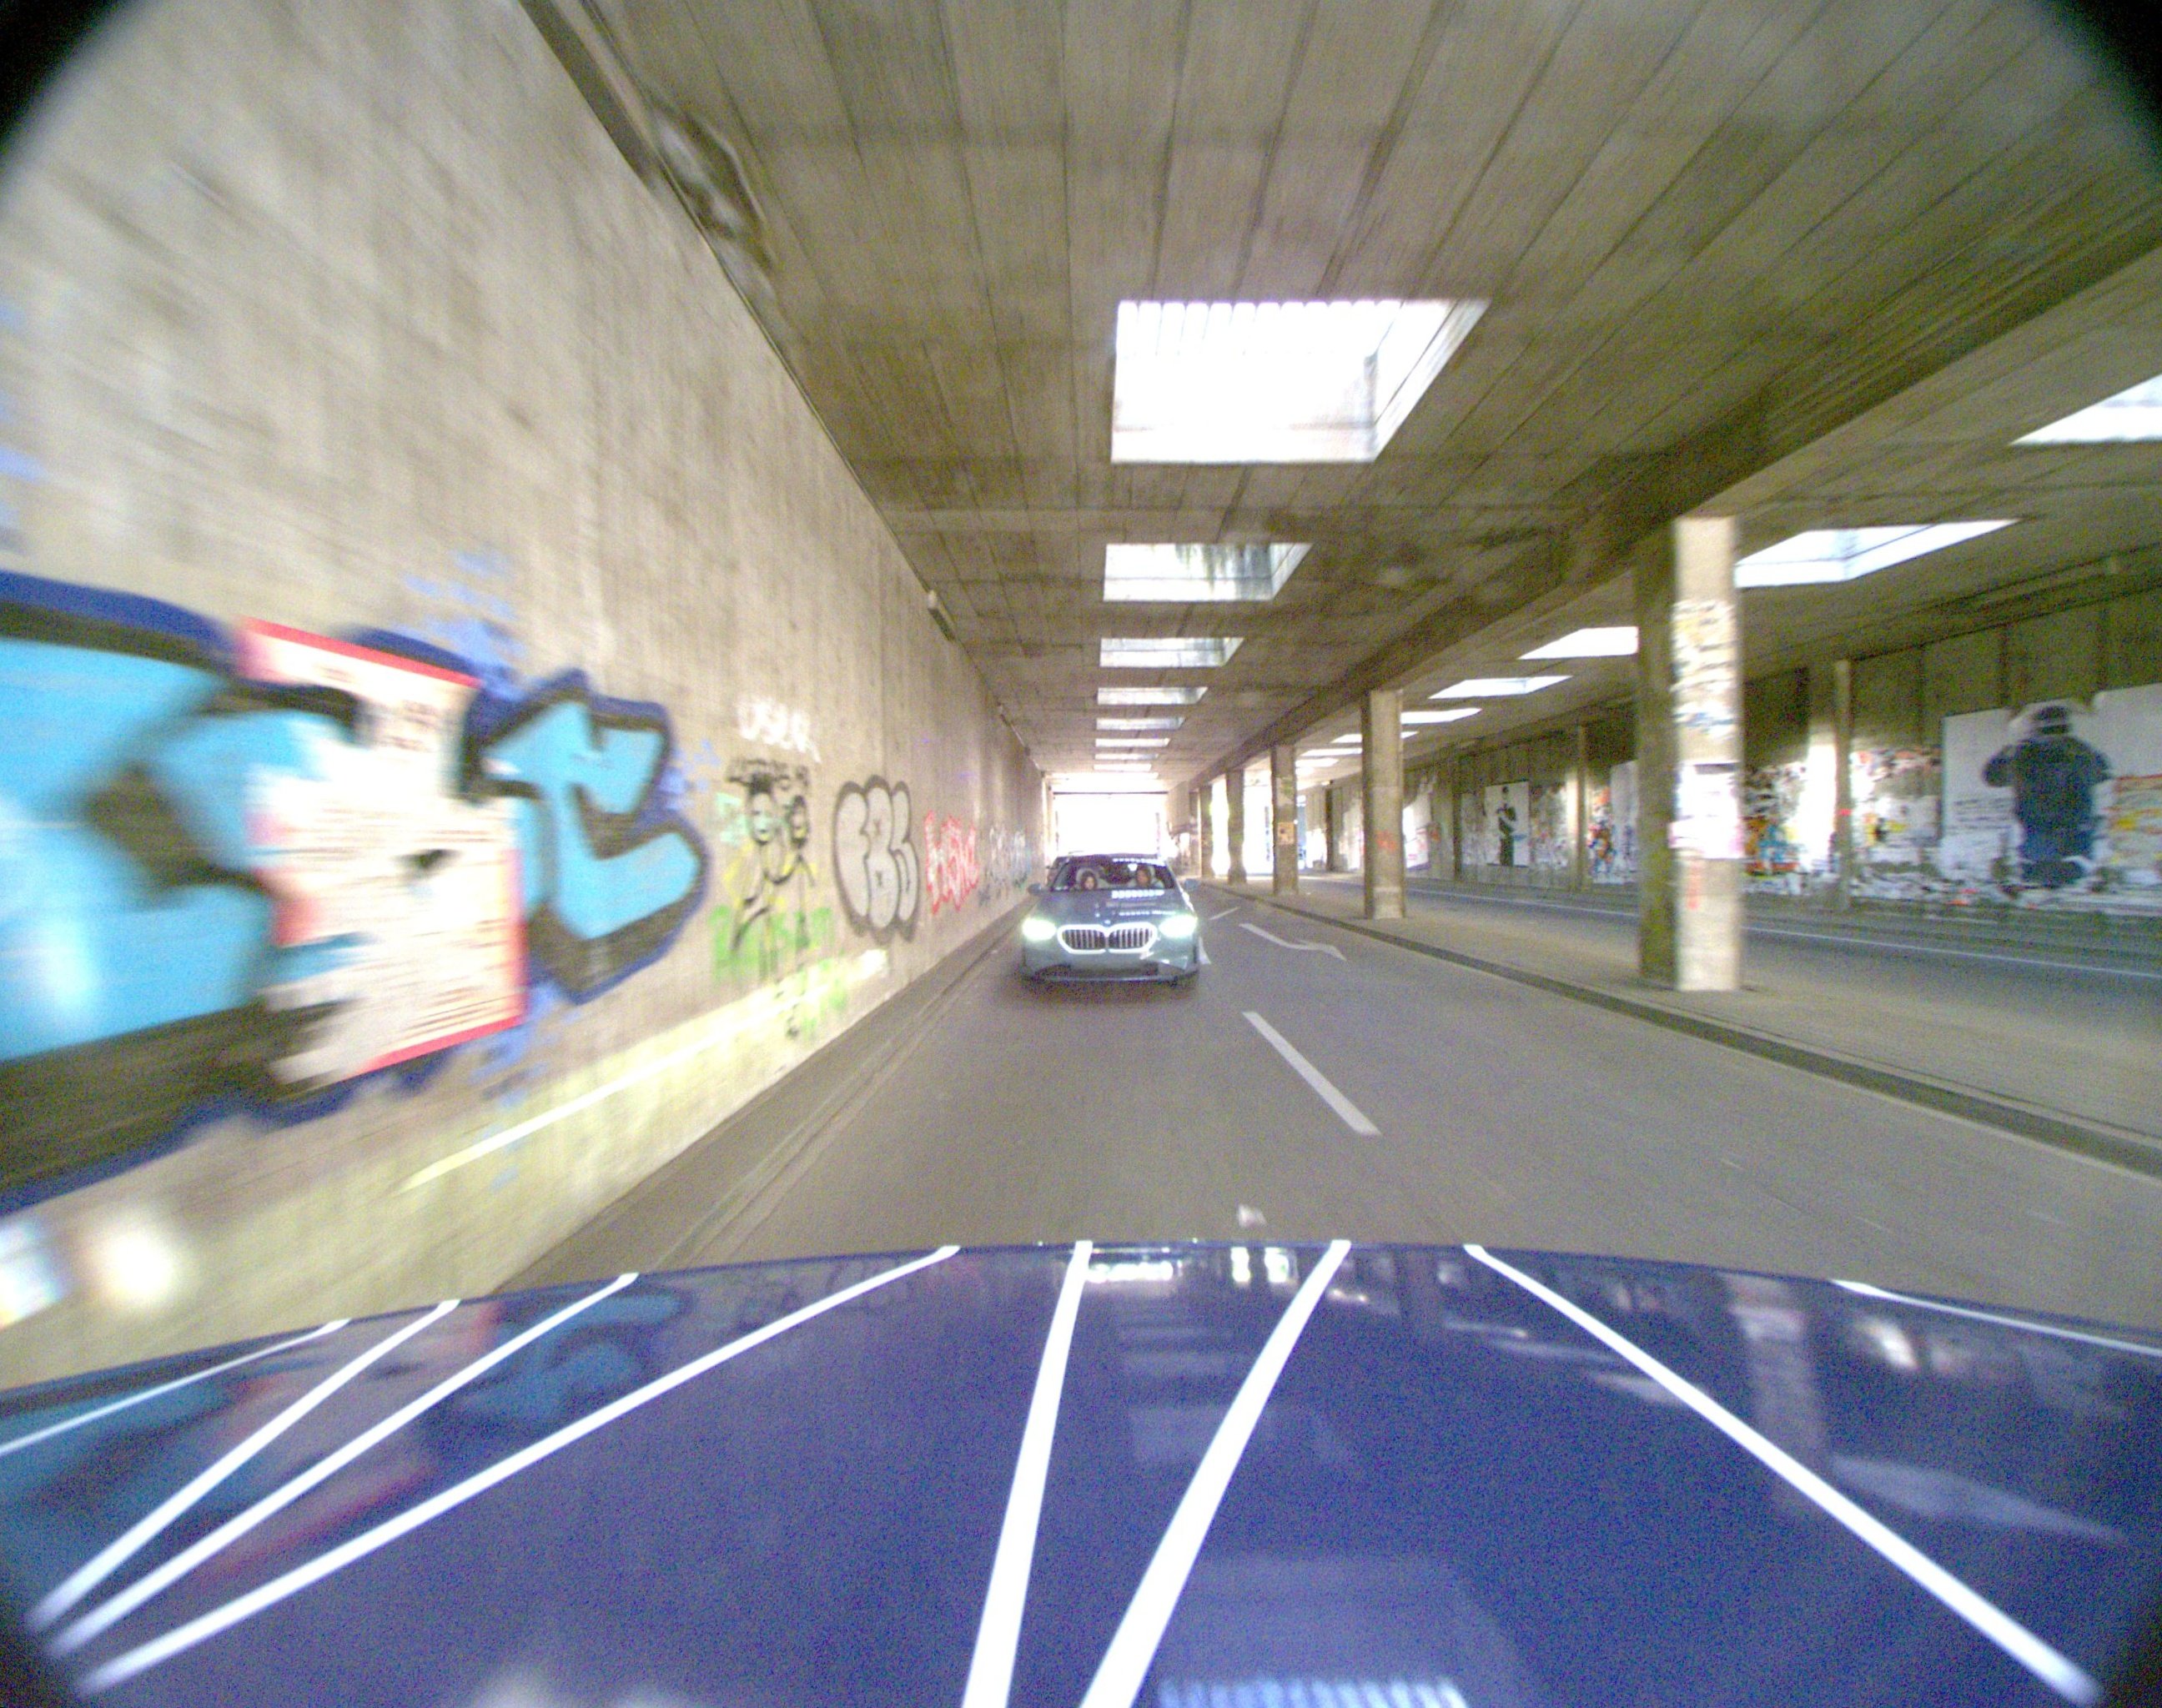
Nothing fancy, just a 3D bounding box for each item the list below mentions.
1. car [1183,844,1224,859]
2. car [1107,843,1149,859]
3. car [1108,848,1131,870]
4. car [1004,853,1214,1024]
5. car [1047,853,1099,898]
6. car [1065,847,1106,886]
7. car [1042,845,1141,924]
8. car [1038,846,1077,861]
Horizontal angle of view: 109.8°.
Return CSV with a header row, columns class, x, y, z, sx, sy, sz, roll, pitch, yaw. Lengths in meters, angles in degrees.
class,x,y,z,sx,sy,sz,roll,pitch,yaw
car,13.161,-0.261,81.950,3.998,1.386,1.833,-2,1,-3
car,4.654,-0.334,76.005,3.998,1.386,1.833,-2,1,-3
car,2.838,0.336,56.668,1.616,1.546,4.013,-1,1,2
car,0.349,0.802,9.750,1.957,1.546,5.040,-1,1,2
car,-0.220,0.703,26.938,1.616,1.367,4.199,-1,1,2
car,0.241,0.488,33.106,1.616,1.546,4.013,-1,1,2
car,0.284,0.593,17.476,1.957,1.547,4.247,-1,1,2
car,-2.519,-0.023,81.529,3.998,1.386,1.833,-2,1,-3
